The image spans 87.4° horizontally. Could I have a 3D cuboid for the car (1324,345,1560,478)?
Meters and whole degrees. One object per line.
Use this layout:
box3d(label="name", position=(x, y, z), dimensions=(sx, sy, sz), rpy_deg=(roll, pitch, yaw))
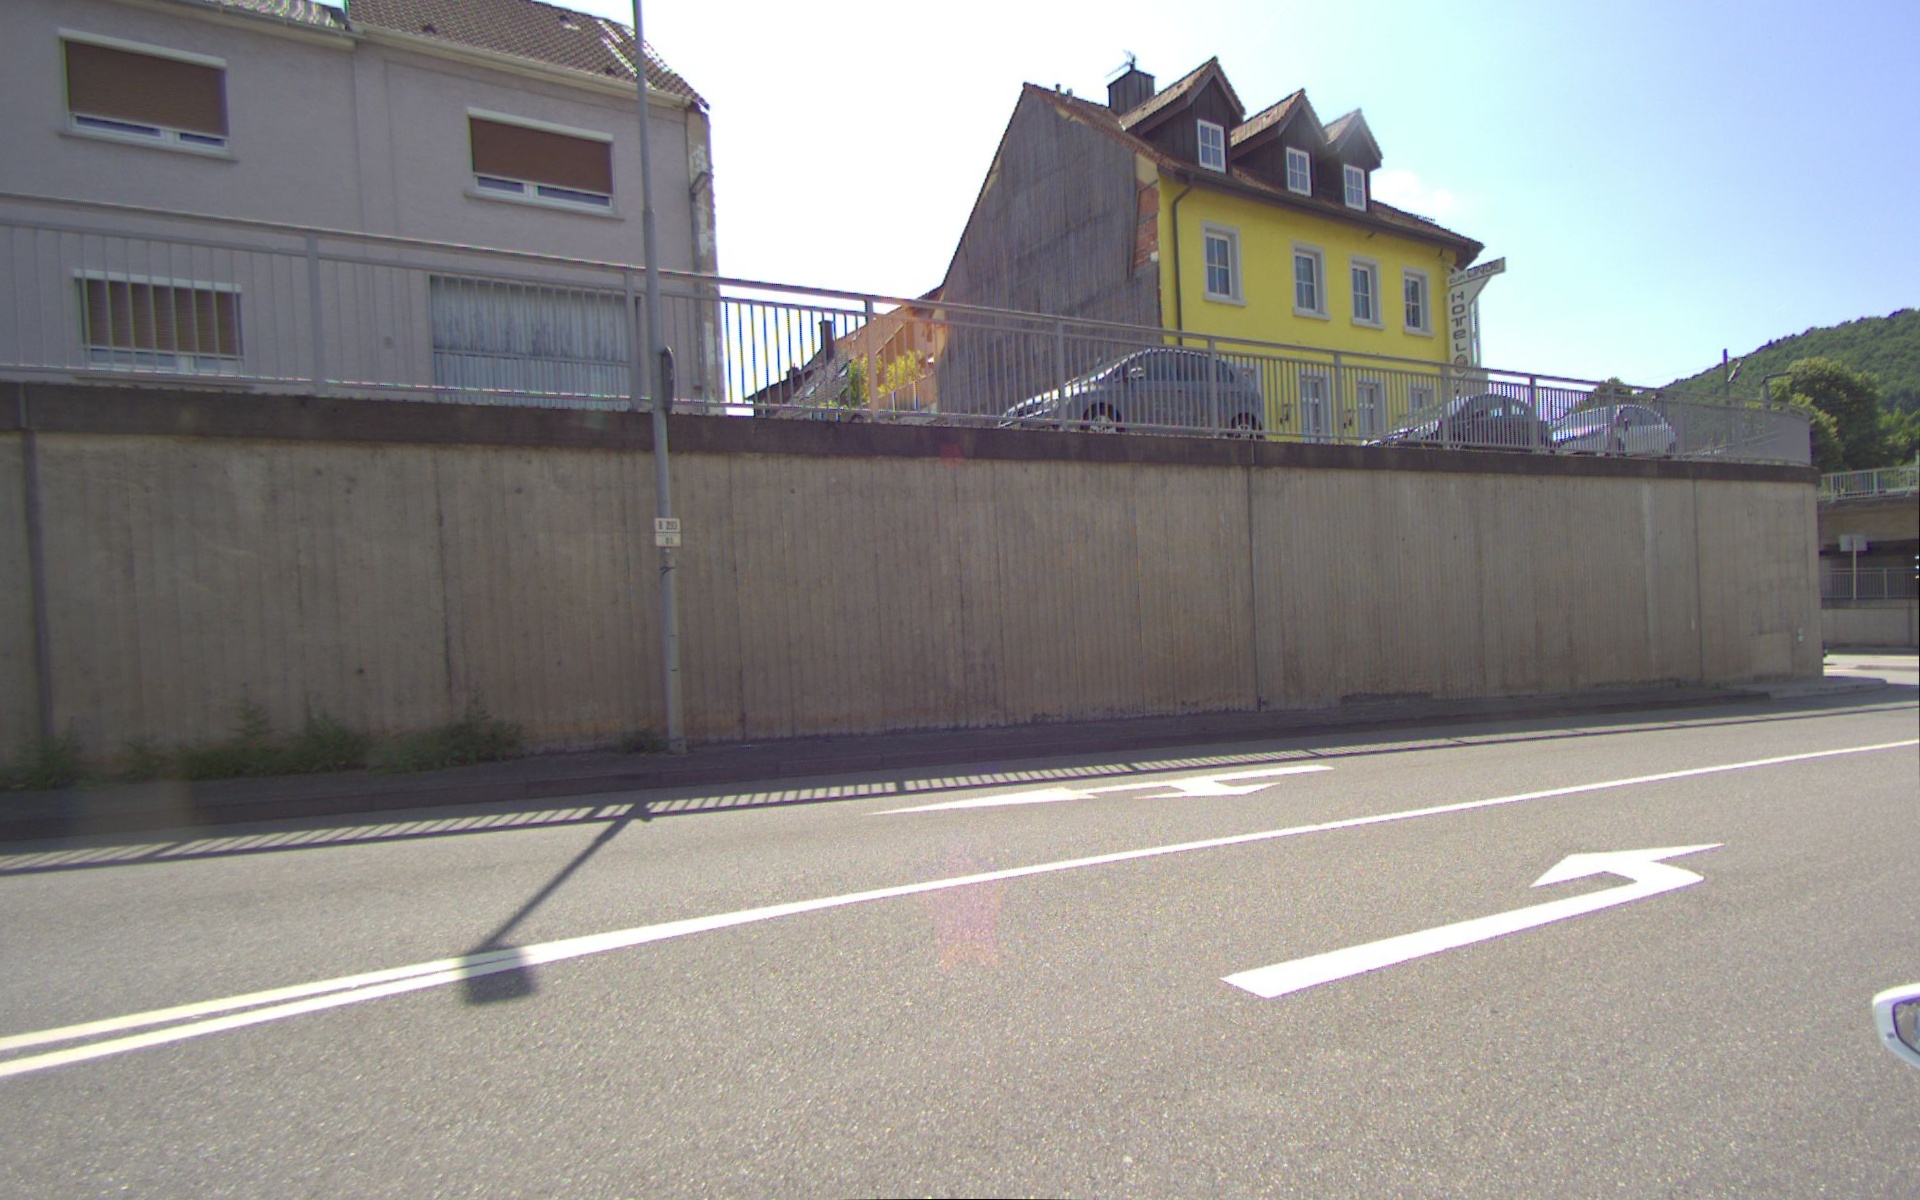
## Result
box3d(label="car", position=(8.530, -3.194, 17.699), dimensions=(4.175, 1.728, 1.812), rpy_deg=(-2, 0, -32))

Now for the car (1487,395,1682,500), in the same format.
box3d(label="car", position=(13.006, -3.075, 20.868), dimensions=(3.955, 1.690, 1.892), rpy_deg=(-2, 0, -32))

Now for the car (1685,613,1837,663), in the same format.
box3d(label="car", position=(28.764, 1.324, 36.168), dimensions=(1.793, 1.639, 3.958), rpy_deg=(-2, 1, -37))

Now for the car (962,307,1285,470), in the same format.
box3d(label="car", position=(2.345, -2.790, 13.985), dimensions=(4.344, 1.545, 1.788), rpy_deg=(-2, 0, -32))

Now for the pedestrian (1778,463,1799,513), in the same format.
box3d(label="pedestrian", position=(36.289, -4.891, 44.004), dimensions=(0.531, 2.108, 0.571), rpy_deg=(0, -2, -40))
